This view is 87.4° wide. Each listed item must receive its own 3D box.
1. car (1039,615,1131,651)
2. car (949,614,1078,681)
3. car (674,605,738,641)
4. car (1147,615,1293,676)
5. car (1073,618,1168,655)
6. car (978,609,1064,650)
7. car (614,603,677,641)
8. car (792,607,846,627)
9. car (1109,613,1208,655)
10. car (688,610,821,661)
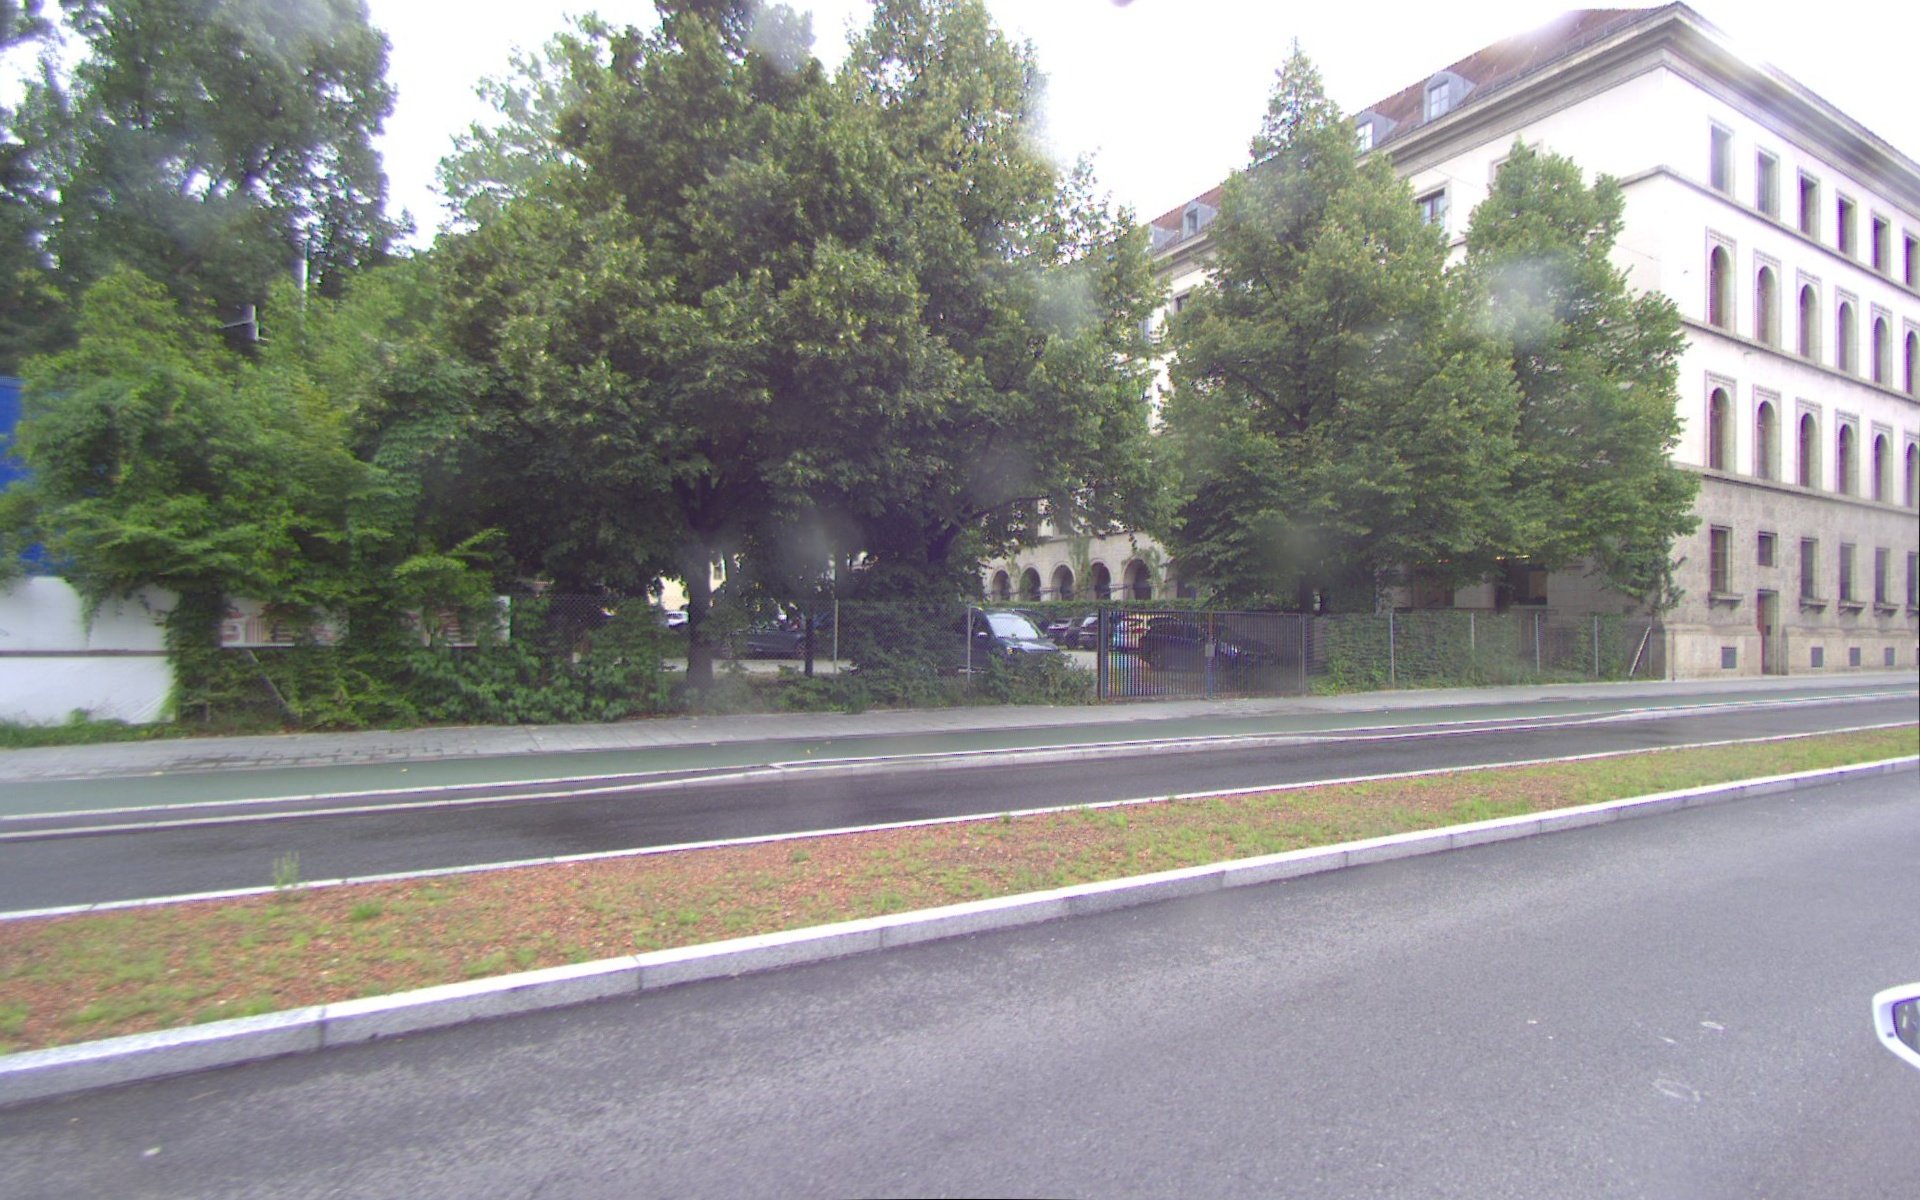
[{"bbox_3d":[5.769,1.520,46.155,3.954,1.564,1.762,1,-1,-31],"label":"car"},{"bbox_3d":[1.303,1.200,26.425,1.779,1.610,4.137,1,-2,-23],"label":"car"},{"bbox_3d":[-12.827,1.163,50.585,1.978,1.742,3.965,1,-1,-32],"label":"car"},{"bbox_3d":[7.614,1.295,29.778,1.783,1.671,4.243,1,-2,-30],"label":"car"},{"bbox_3d":[7.062,1.599,44.056,3.954,1.564,1.762,1,-1,-31],"label":"car"},{"bbox_3d":[3.077,1.480,50.483,3.949,1.954,1.838,1,-1,-27],"label":"car"},{"bbox_3d":[-15.369,1.074,48.909,1.978,1.742,3.965,1,-1,-32],"label":"car"},{"bbox_3d":[-11.297,1.376,80.707,3.954,1.564,1.762,1,-1,-31],"label":"car"},{"bbox_3d":[8.265,1.403,41.819,3.953,1.662,1.657,1,-1,-31],"label":"car"},{"bbox_3d":[-6.733,1.161,33.022,3.956,1.564,1.761,1,-1,-32],"label":"car"}]
